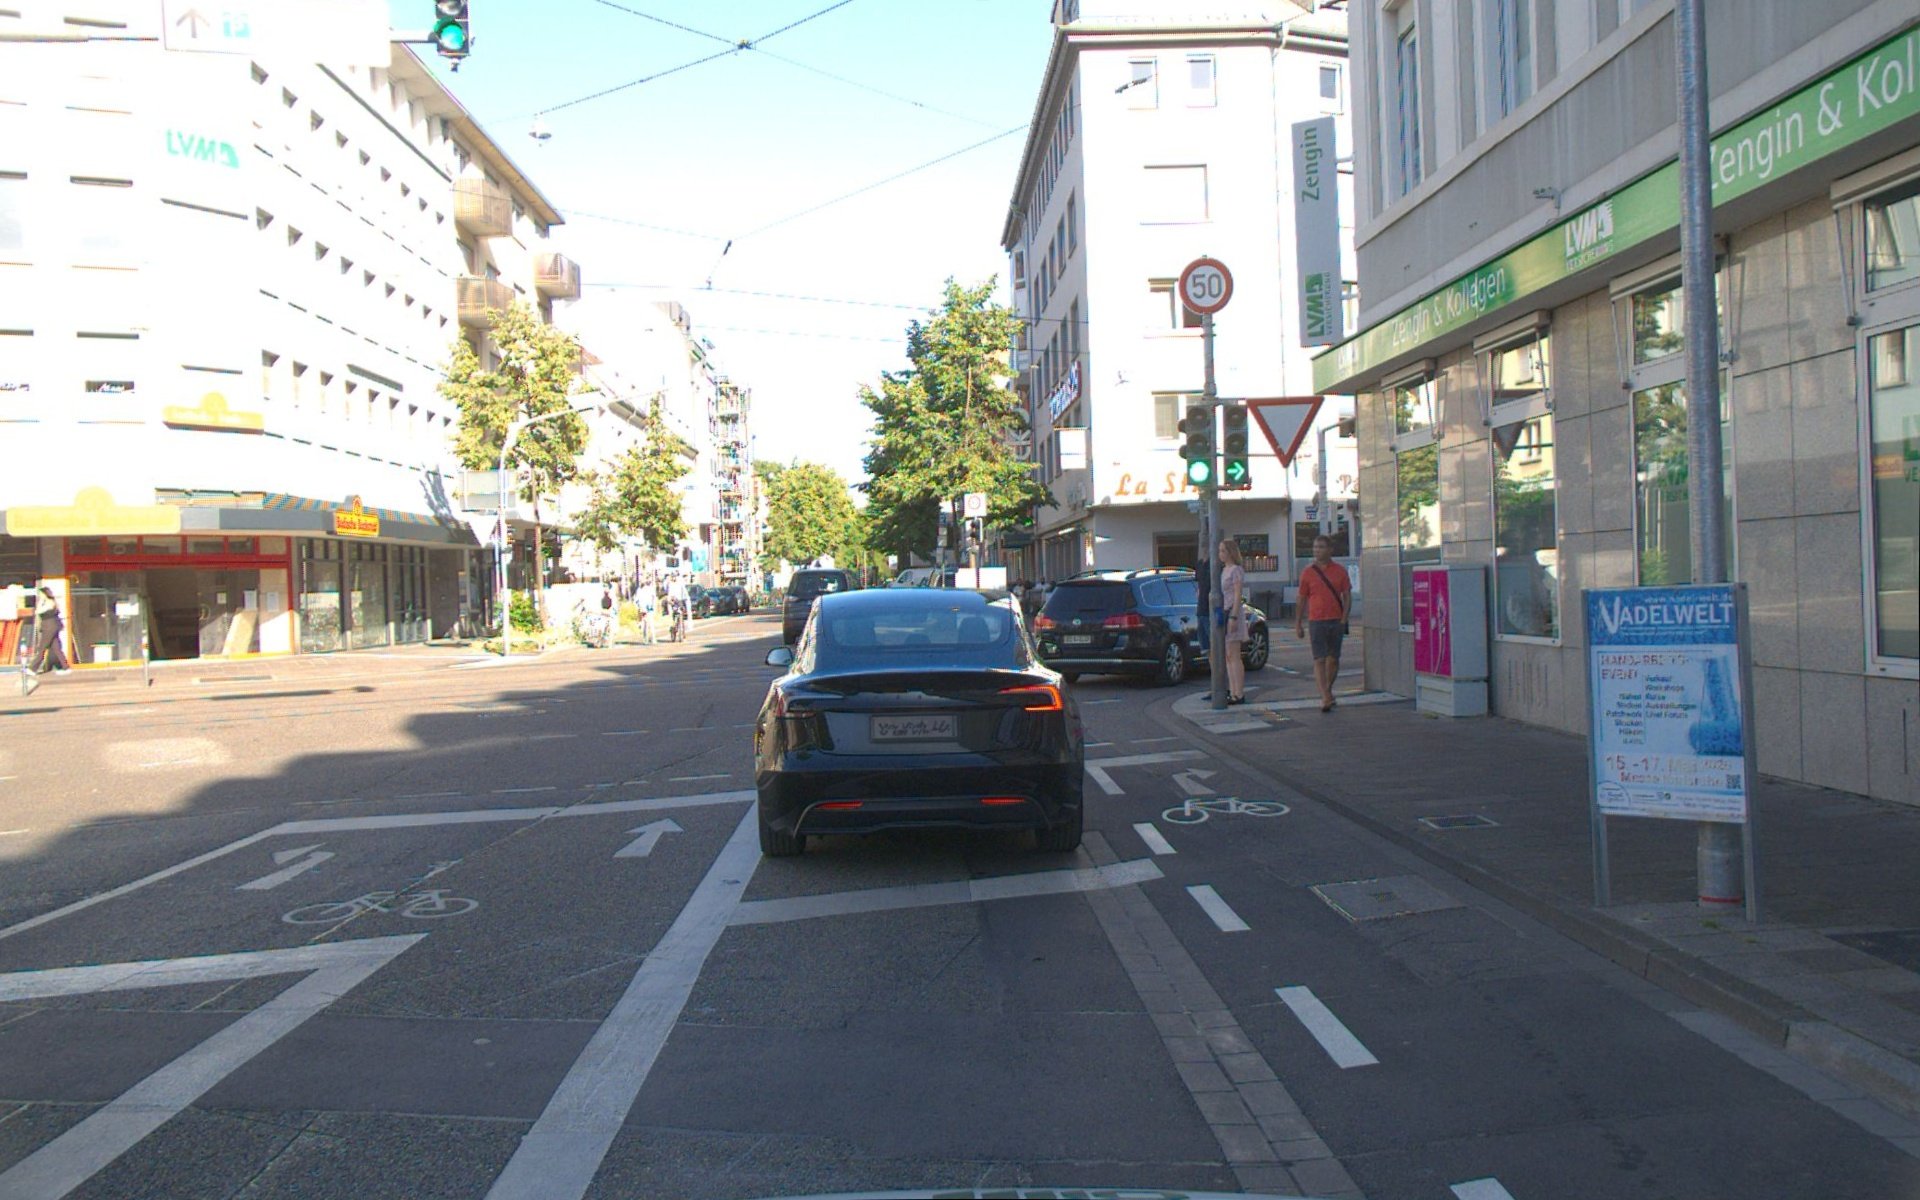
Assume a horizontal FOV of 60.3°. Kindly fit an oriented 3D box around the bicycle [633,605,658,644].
[{"bbox_3d":[-8.423,0.644,44.236,0.543,0.985,1.788,-3,1,-13],"label":"bicycle"}]

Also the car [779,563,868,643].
[{"bbox_3d":[-3.240,0.044,39.925,1.866,1.763,4.287,-2,1,-2],"label":"car"}]

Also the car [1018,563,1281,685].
[{"bbox_3d":[2.658,0.265,22.276,1.731,1.443,4.342,-1,1,34],"label":"car"}]

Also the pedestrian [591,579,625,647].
[{"bbox_3d":[-9.185,0.327,43.169,0.778,1.742,0.651,-2,1,-17],"label":"pedestrian"}]

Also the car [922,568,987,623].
[{"bbox_3d":[-0.220,-0.167,54.556,1.961,1.664,4.287,-2,1,-2],"label":"car"}]

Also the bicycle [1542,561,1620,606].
[{"bbox_3d":[17.896,-0.472,47.720,0.764,1.245,2.088,-3,2,-30],"label":"bicycle"}]

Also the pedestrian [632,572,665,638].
[{"bbox_3d":[-8.356,0.129,44.372,0.765,1.758,0.557,-2,1,-17],"label":"pedestrian"}]

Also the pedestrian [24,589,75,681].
[{"bbox_3d":[-17.669,0.671,32.109,0.547,1.739,0.711,-3,0,-5],"label":"pedestrian"}]

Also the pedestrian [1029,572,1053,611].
[{"bbox_3d":[2.918,-0.302,59.913,0.716,1.384,0.958,-3,0,-2],"label":"pedestrian"}]

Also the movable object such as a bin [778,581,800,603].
[{"bbox_3d":[-11.945,-0.549,115.666,1.289,1.432,1.065,-3,1,-19],"label":"movable object such as a bin"}]

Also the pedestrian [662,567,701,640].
[{"bbox_3d":[-7.478,0.088,44.399,0.766,1.898,0.997,-5,2,-16],"label":"pedestrian"}]

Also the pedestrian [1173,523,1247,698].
[{"bbox_3d":[2.767,0.110,18.383,0.627,1.874,0.681,-2,1,-2],"label":"pedestrian"}]

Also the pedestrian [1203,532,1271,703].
[{"bbox_3d":[2.984,0.178,17.848,0.561,1.790,0.649,-2,1,-2],"label":"pedestrian"}]

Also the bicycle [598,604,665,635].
[{"bbox_3d":[-12.034,0.712,60.537,2.355,1.023,0.654,-3,1,-13],"label":"bicycle"}]

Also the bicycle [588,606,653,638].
[{"bbox_3d":[-11.838,0.768,57.659,2.183,0.975,0.653,-3,1,-15],"label":"bicycle"}]

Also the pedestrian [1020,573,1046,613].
[{"bbox_3d":[2.588,-0.262,58.631,0.716,1.370,1.059,-3,1,-4],"label":"pedestrian"}]

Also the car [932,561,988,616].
[{"bbox_3d":[-0.045,-0.434,61.139,1.866,1.884,4.287,-2,1,-2],"label":"car"}]

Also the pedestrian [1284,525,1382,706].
[{"bbox_3d":[3.741,0.146,16.653,0.676,1.732,0.912,-3,1,-1],"label":"pedestrian"}]

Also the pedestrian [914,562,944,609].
[{"bbox_3d":[-1.312,-0.628,71.133,0.937,1.948,1.106,-3,0,14],"label":"pedestrian"}]

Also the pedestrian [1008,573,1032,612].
[{"bbox_3d":[2.158,-0.261,59.725,0.695,1.370,1.059,-3,1,-5],"label":"pedestrian"}]

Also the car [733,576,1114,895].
[{"bbox_3d":[-0.210,0.637,10.373,1.832,1.452,4.364,-2,1,-1],"label":"car"}]

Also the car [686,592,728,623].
[{"bbox_3d":[-13.009,0.364,85.156,1.751,1.427,3.903,-2,1,-4],"label":"car"}]

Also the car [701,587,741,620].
[{"bbox_3d":[-13.014,0.171,90.224,1.684,1.638,3.596,-3,1,-3],"label":"car"}]

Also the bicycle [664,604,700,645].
[{"bbox_3d":[-7.477,0.648,44.412,0.746,1.025,1.719,-5,1,-13],"label":"bicycle"}]

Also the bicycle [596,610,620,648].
[{"bbox_3d":[-9.265,0.752,43.503,0.472,0.972,1.449,-3,1,-16],"label":"bicycle"}]

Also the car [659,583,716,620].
[{"bbox_3d":[-12.728,0.048,77.417,1.953,1.626,4.000,-2,1,0],"label":"car"}]

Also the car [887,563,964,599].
[{"bbox_3d":[-2.472,-1.343,116.365,5.284,2.183,1.999,-3,1,-3],"label":"car"}]

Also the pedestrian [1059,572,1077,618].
[{"bbox_3d":[3.265,-0.155,49.936,0.477,1.345,0.654,-3,0,5],"label":"pedestrian"}]

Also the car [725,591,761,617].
[{"bbox_3d":[-12.442,0.214,95.099,1.751,1.427,3.903,-2,1,-4],"label":"car"}]

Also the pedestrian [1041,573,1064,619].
[{"bbox_3d":[2.749,-0.120,49.137,0.574,1.335,0.560,-3,0,-2],"label":"pedestrian"}]
